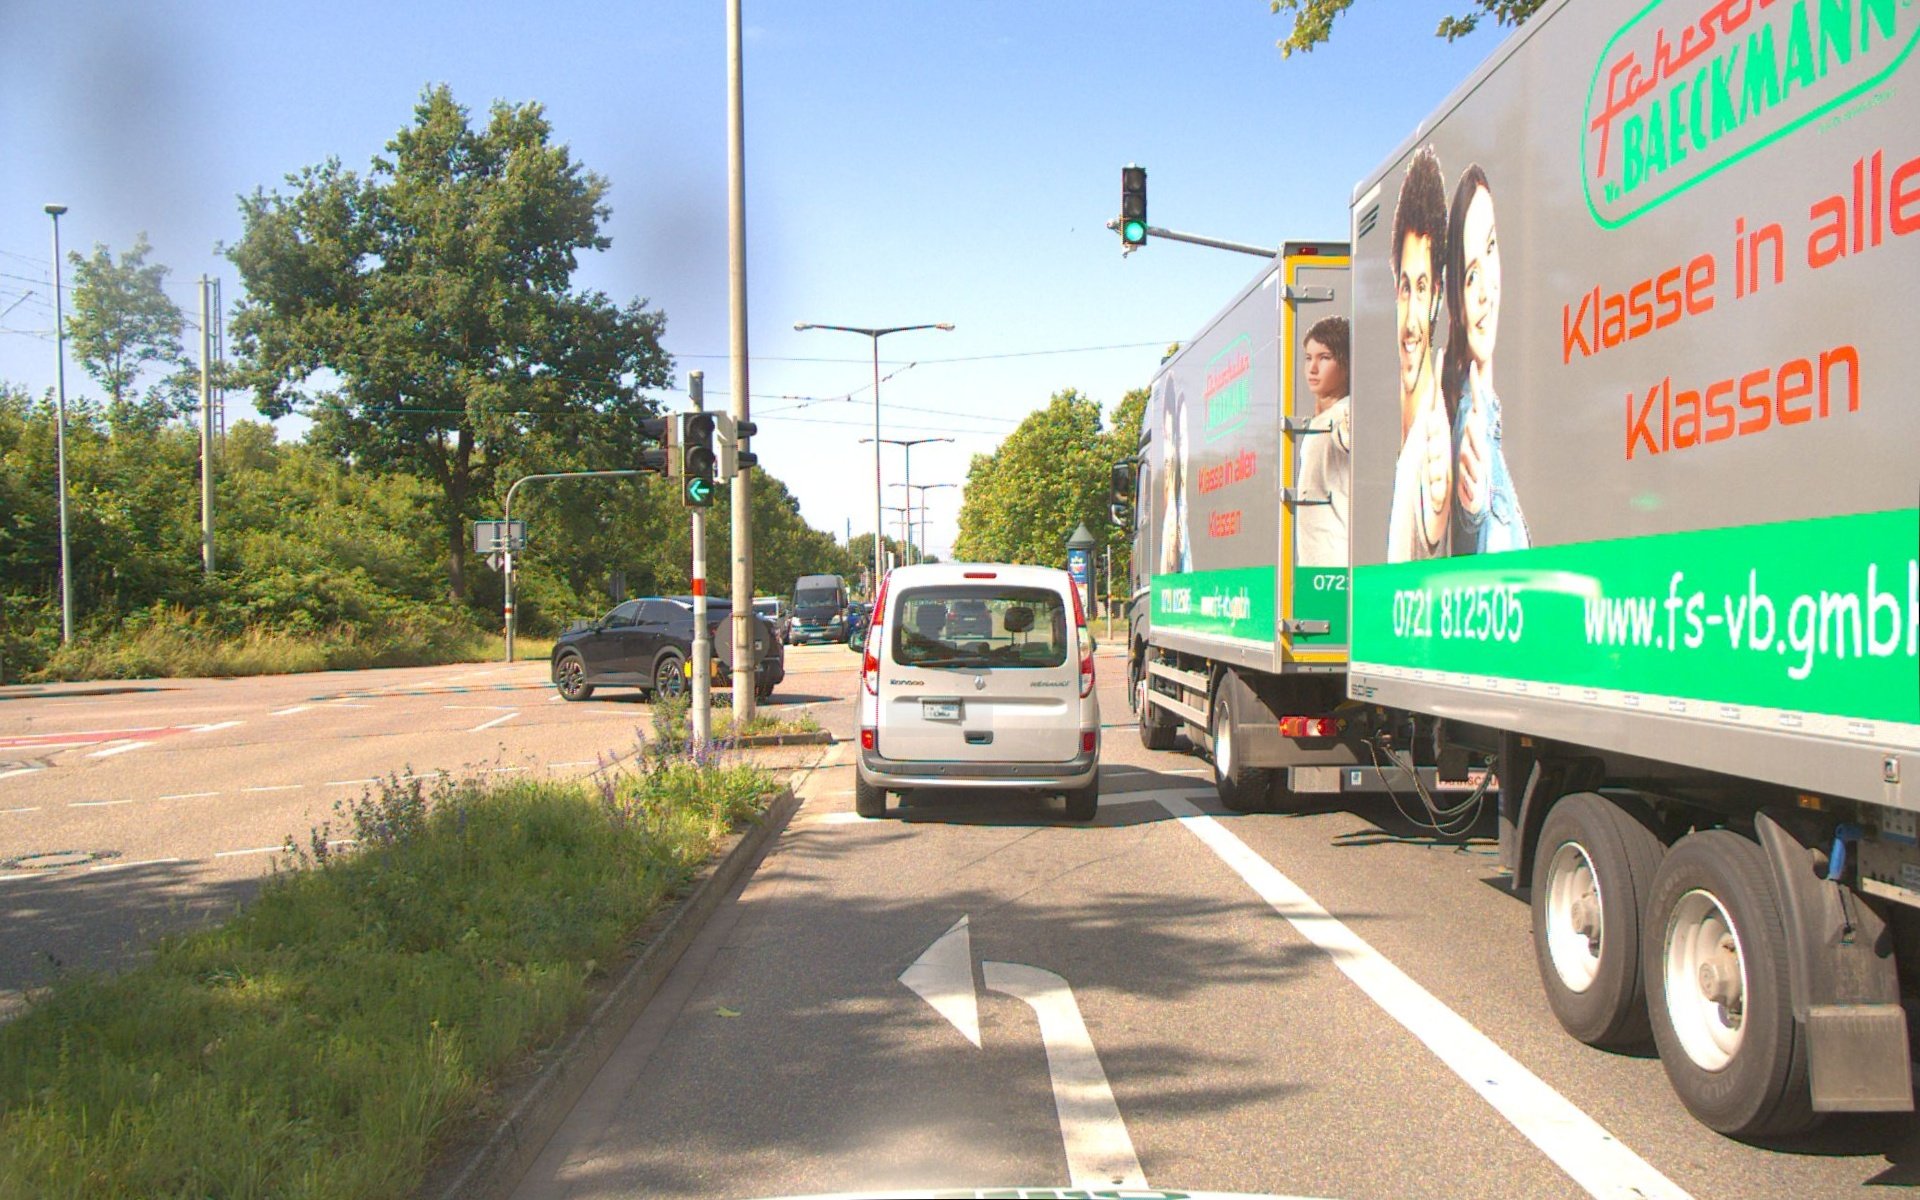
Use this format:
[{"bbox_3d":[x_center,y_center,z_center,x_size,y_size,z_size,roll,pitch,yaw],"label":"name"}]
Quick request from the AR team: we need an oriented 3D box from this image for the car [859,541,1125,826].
[{"bbox_3d":[0.134,0.573,13.024,1.750,1.870,3.998,1,0,-2],"label":"car"}]

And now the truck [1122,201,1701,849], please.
[{"bbox_3d":[3.194,-0.433,14.499,2.673,3.958,8.722,0,0,0],"label":"truck"}]

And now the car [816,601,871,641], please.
[{"bbox_3d":[-4.956,0.889,70.738,1.952,1.612,4.000,-2,-1,1],"label":"car"}]

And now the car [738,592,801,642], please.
[{"bbox_3d":[-7.668,0.693,66.967,1.952,1.903,4.773,-1,0,0],"label":"car"}]

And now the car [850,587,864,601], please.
[{"bbox_3d":[-15.420,-0.887,247.703,1.849,2.049,4.000,1,0,0],"label":"car"}]

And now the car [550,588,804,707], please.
[{"bbox_3d":[-4.554,0.709,26.218,1.923,1.691,4.158,-2,1,-45],"label":"car"}]

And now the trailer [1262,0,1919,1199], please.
[{"bbox_3d":[3.234,-0.472,6.239,2.680,3.945,7.734,-1,0,0],"label":"trailer"}]

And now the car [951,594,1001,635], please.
[{"bbox_3d":[0.658,0.593,67.734,1.952,1.613,4.456,1,0,1],"label":"car"}]

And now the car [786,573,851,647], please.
[{"bbox_3d":[-5.360,0.375,63.238,1.952,2.653,5.133,-1,-1,0],"label":"car"}]
